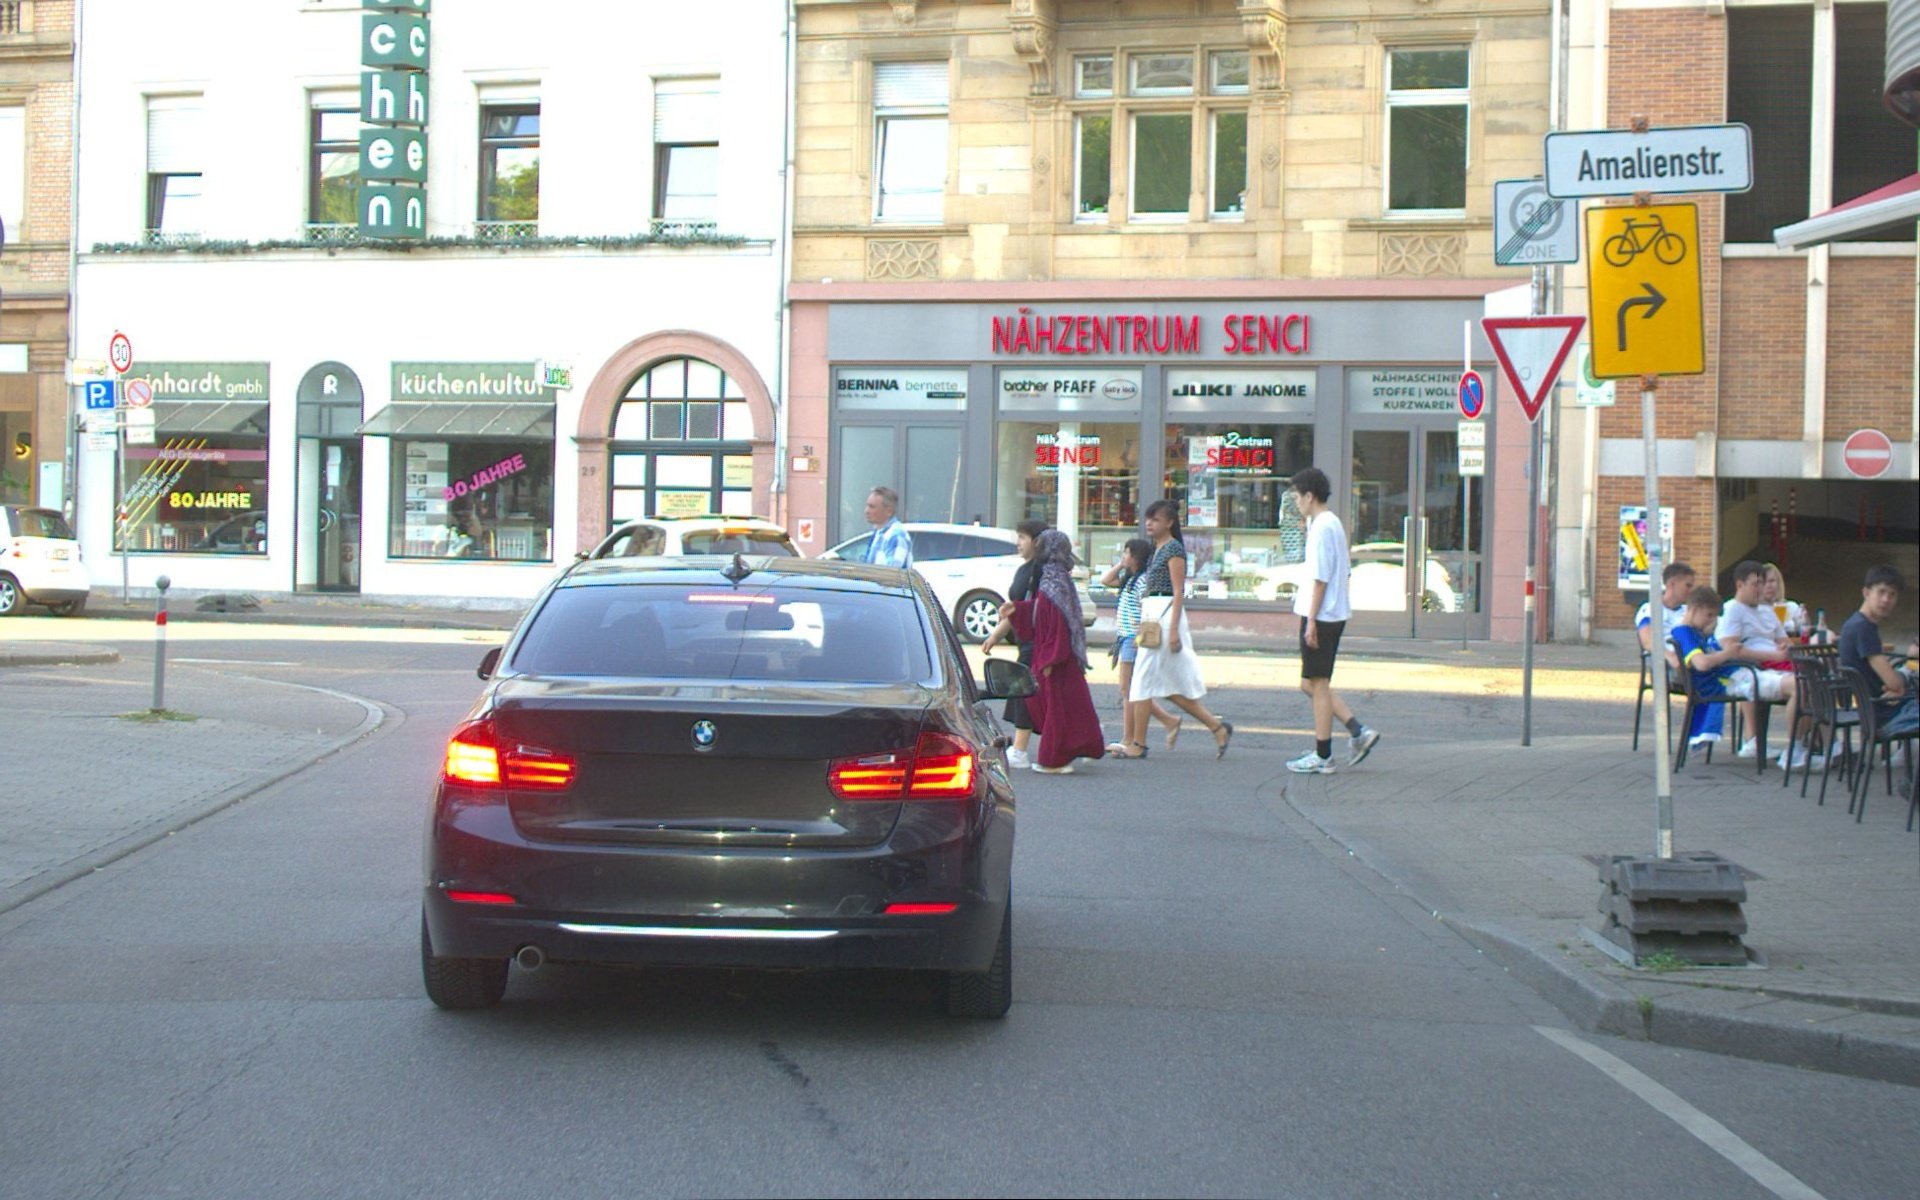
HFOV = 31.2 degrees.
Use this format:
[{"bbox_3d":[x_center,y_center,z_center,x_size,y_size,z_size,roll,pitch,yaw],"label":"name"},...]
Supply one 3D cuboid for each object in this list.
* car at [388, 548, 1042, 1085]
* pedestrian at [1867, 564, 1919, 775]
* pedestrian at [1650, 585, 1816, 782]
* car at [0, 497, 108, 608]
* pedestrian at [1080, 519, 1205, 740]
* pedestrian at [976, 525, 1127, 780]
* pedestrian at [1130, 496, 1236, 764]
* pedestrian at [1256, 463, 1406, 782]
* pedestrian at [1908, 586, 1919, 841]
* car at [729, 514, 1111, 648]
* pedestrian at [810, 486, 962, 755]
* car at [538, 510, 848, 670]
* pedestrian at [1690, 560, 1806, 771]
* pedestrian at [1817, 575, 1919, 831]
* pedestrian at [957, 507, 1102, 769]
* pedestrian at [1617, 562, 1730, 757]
[{"bbox_3d":[-0.748,0.567,11.910,1.765,1.370,4.791,2,2,-2],"label":"car"},{"bbox_3d":[6.042,0.421,21.253,0.618,1.274,0.699,2,2,35],"label":"pedestrian"},{"bbox_3d":[4.654,0.494,20.739,0.890,1.146,0.619,1,1,5],"label":"pedestrian"},{"bbox_3d":[-14.184,-0.676,48.242,3.991,1.505,1.798,1,1,21],"label":"car"},{"bbox_3d":[1.228,0.189,23.277,0.815,1.469,0.606,1,1,2],"label":"pedestrian"},{"bbox_3d":[0.555,0.312,21.044,0.735,1.508,0.650,2,1,-11],"label":"pedestrian"},{"bbox_3d":[1.473,0.185,22.695,0.667,1.740,0.606,1,1,4],"label":"pedestrian"},{"bbox_3d":[2.245,0.128,20.757,0.699,1.871,0.677,2,1,20],"label":"pedestrian"},{"bbox_3d":[5.165,0.556,17.209,0.626,1.272,0.511,-3,2,-39],"label":"pedestrian"},{"bbox_3d":[-0.497,-0.251,42.759,4.356,1.557,1.866,1,1,21],"label":"car"},{"bbox_3d":[-0.488,0.124,22.845,0.895,1.719,0.607,2,3,4],"label":"pedestrian"},{"bbox_3d":[-2.737,-0.140,34.318,1.877,1.468,4.001,0,2,-23],"label":"car"},{"bbox_3d":[4.921,0.398,21.498,0.617,1.279,0.659,1,1,6],"label":"pedestrian"},{"bbox_3d":[4.778,0.528,17.882,0.491,1.298,0.418,-2,1,-2],"label":"pedestrian"},{"bbox_3d":[0.433,0.231,21.701,0.724,1.603,0.650,2,1,-11],"label":"pedestrian"},{"bbox_3d":[4.715,0.384,22.749,0.617,1.250,0.735,1,1,4],"label":"pedestrian"}]
